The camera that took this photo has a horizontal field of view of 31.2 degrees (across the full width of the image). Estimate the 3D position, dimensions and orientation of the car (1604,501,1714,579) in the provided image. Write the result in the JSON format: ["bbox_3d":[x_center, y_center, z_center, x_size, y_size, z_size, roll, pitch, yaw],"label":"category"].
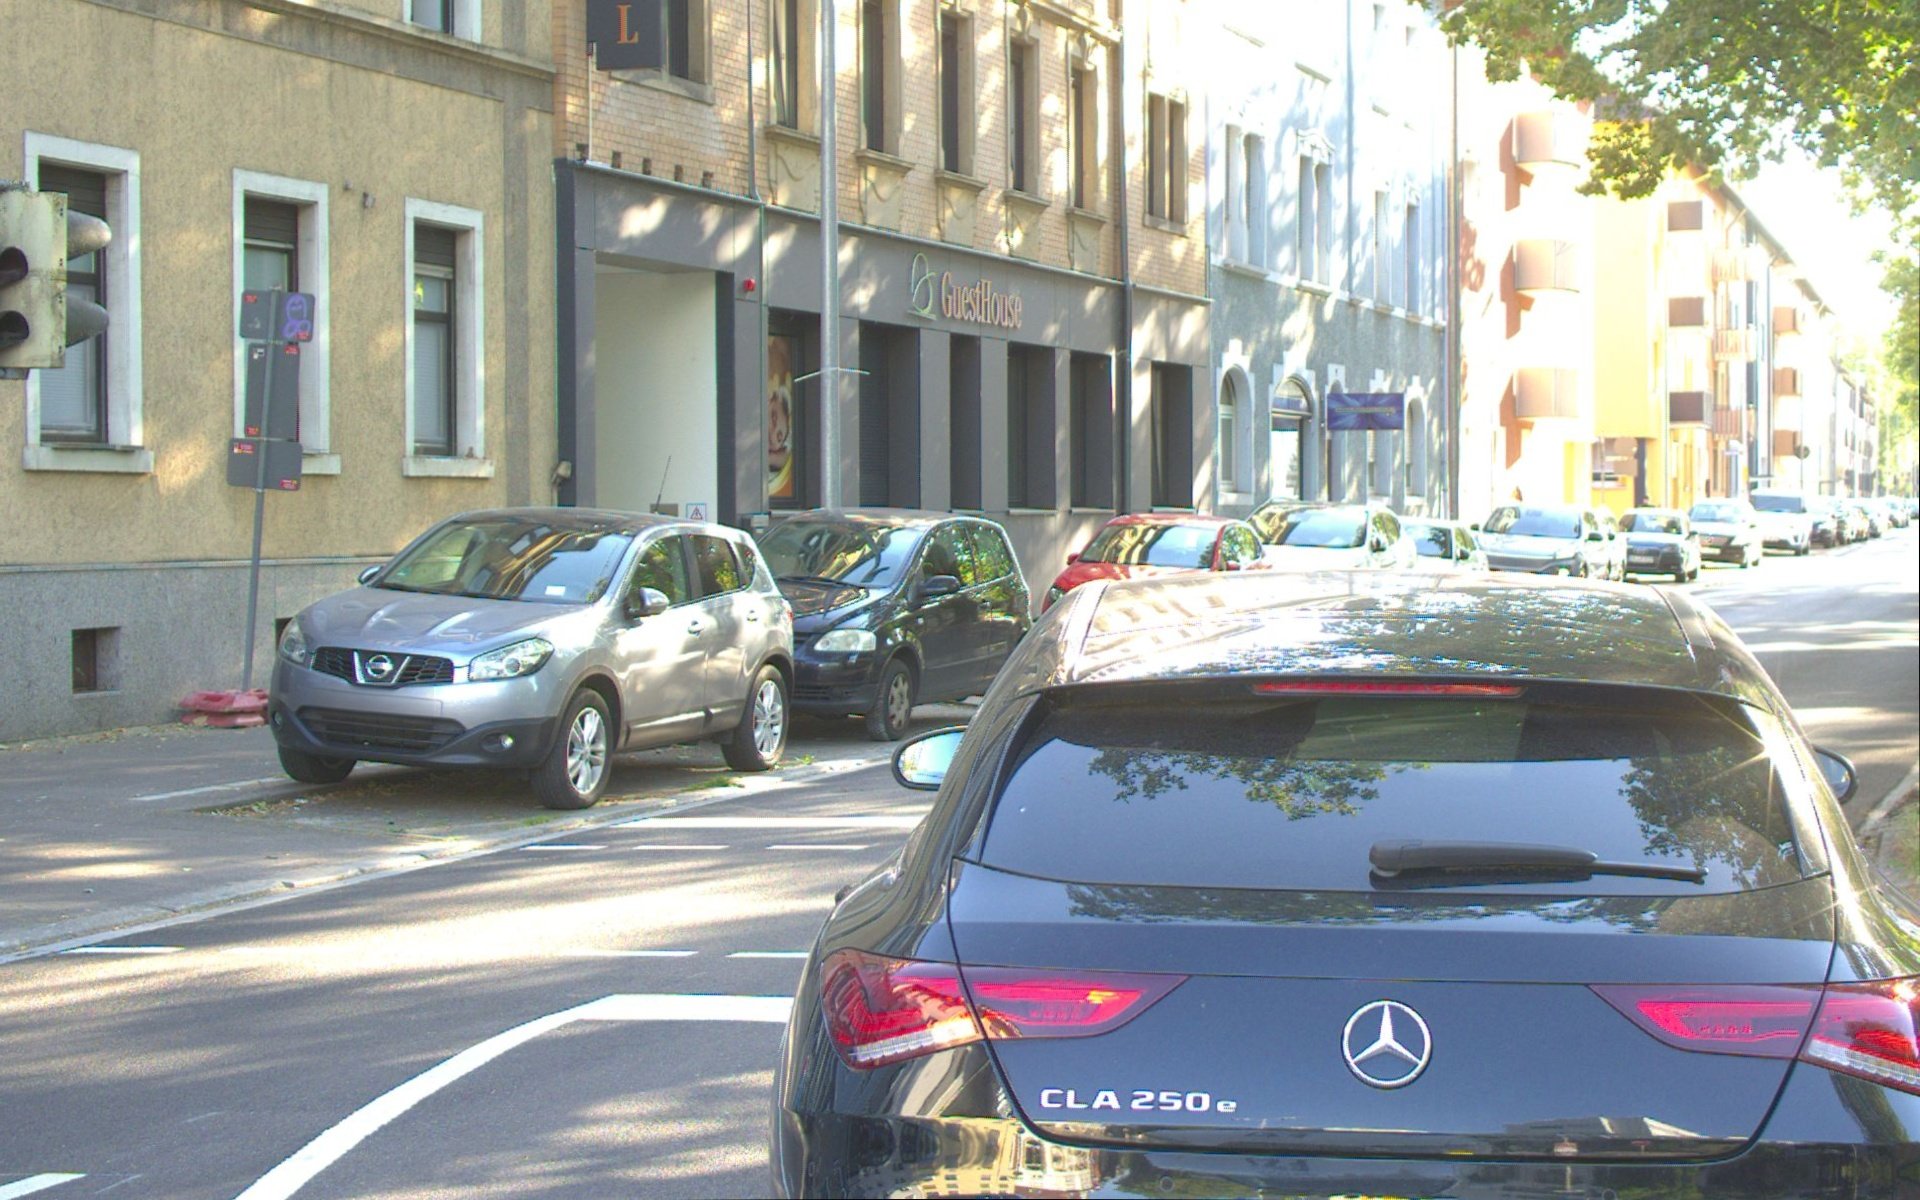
[{"bbox_3d":[14.153,-1.229,69.503,1.679,1.481,3.598,2,2,19],"label":"car"}]

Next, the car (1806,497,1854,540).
[{"bbox_3d":[32.270,-3.038,127.527,1.549,1.518,4.002,2,2,16],"label":"car"}]

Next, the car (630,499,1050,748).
[{"bbox_3d":[-0.779,0.098,24.789,1.679,1.599,3.701,2,2,21],"label":"car"}]

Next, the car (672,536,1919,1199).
[{"bbox_3d":[0.754,0.662,6.152,1.745,1.438,3.968,2,2,7],"label":"car"}]

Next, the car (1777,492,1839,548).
[{"bbox_3d":[28.161,-2.671,114.080,1.746,1.781,4.546,2,2,16],"label":"car"}]

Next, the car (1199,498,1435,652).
[{"bbox_3d":[4.056,-0.332,38.501,1.679,1.579,4.196,2,2,19],"label":"car"}]

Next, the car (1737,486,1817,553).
[{"bbox_3d":[24.108,-2.407,101.321,1.736,1.900,5.204,1,2,19],"label":"car"}]

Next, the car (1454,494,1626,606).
[{"bbox_3d":[9.225,-0.827,54.391,1.910,1.636,4.573,2,2,19],"label":"car"}]

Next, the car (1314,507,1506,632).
[{"bbox_3d":[5.869,-0.432,44.514,1.679,1.491,3.868,2,2,19],"label":"car"}]

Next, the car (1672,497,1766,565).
[{"bbox_3d":[18.142,-1.668,82.100,1.679,1.518,4.017,2,2,19],"label":"car"}]

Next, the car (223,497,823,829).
[{"bbox_3d":[-2.403,0.258,20.023,1.783,1.667,4.152,2,2,19],"label":"car"}]

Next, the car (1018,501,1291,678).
[{"bbox_3d":[1.968,-0.156,33.804,1.679,1.586,3.753,2,2,19],"label":"car"}]
